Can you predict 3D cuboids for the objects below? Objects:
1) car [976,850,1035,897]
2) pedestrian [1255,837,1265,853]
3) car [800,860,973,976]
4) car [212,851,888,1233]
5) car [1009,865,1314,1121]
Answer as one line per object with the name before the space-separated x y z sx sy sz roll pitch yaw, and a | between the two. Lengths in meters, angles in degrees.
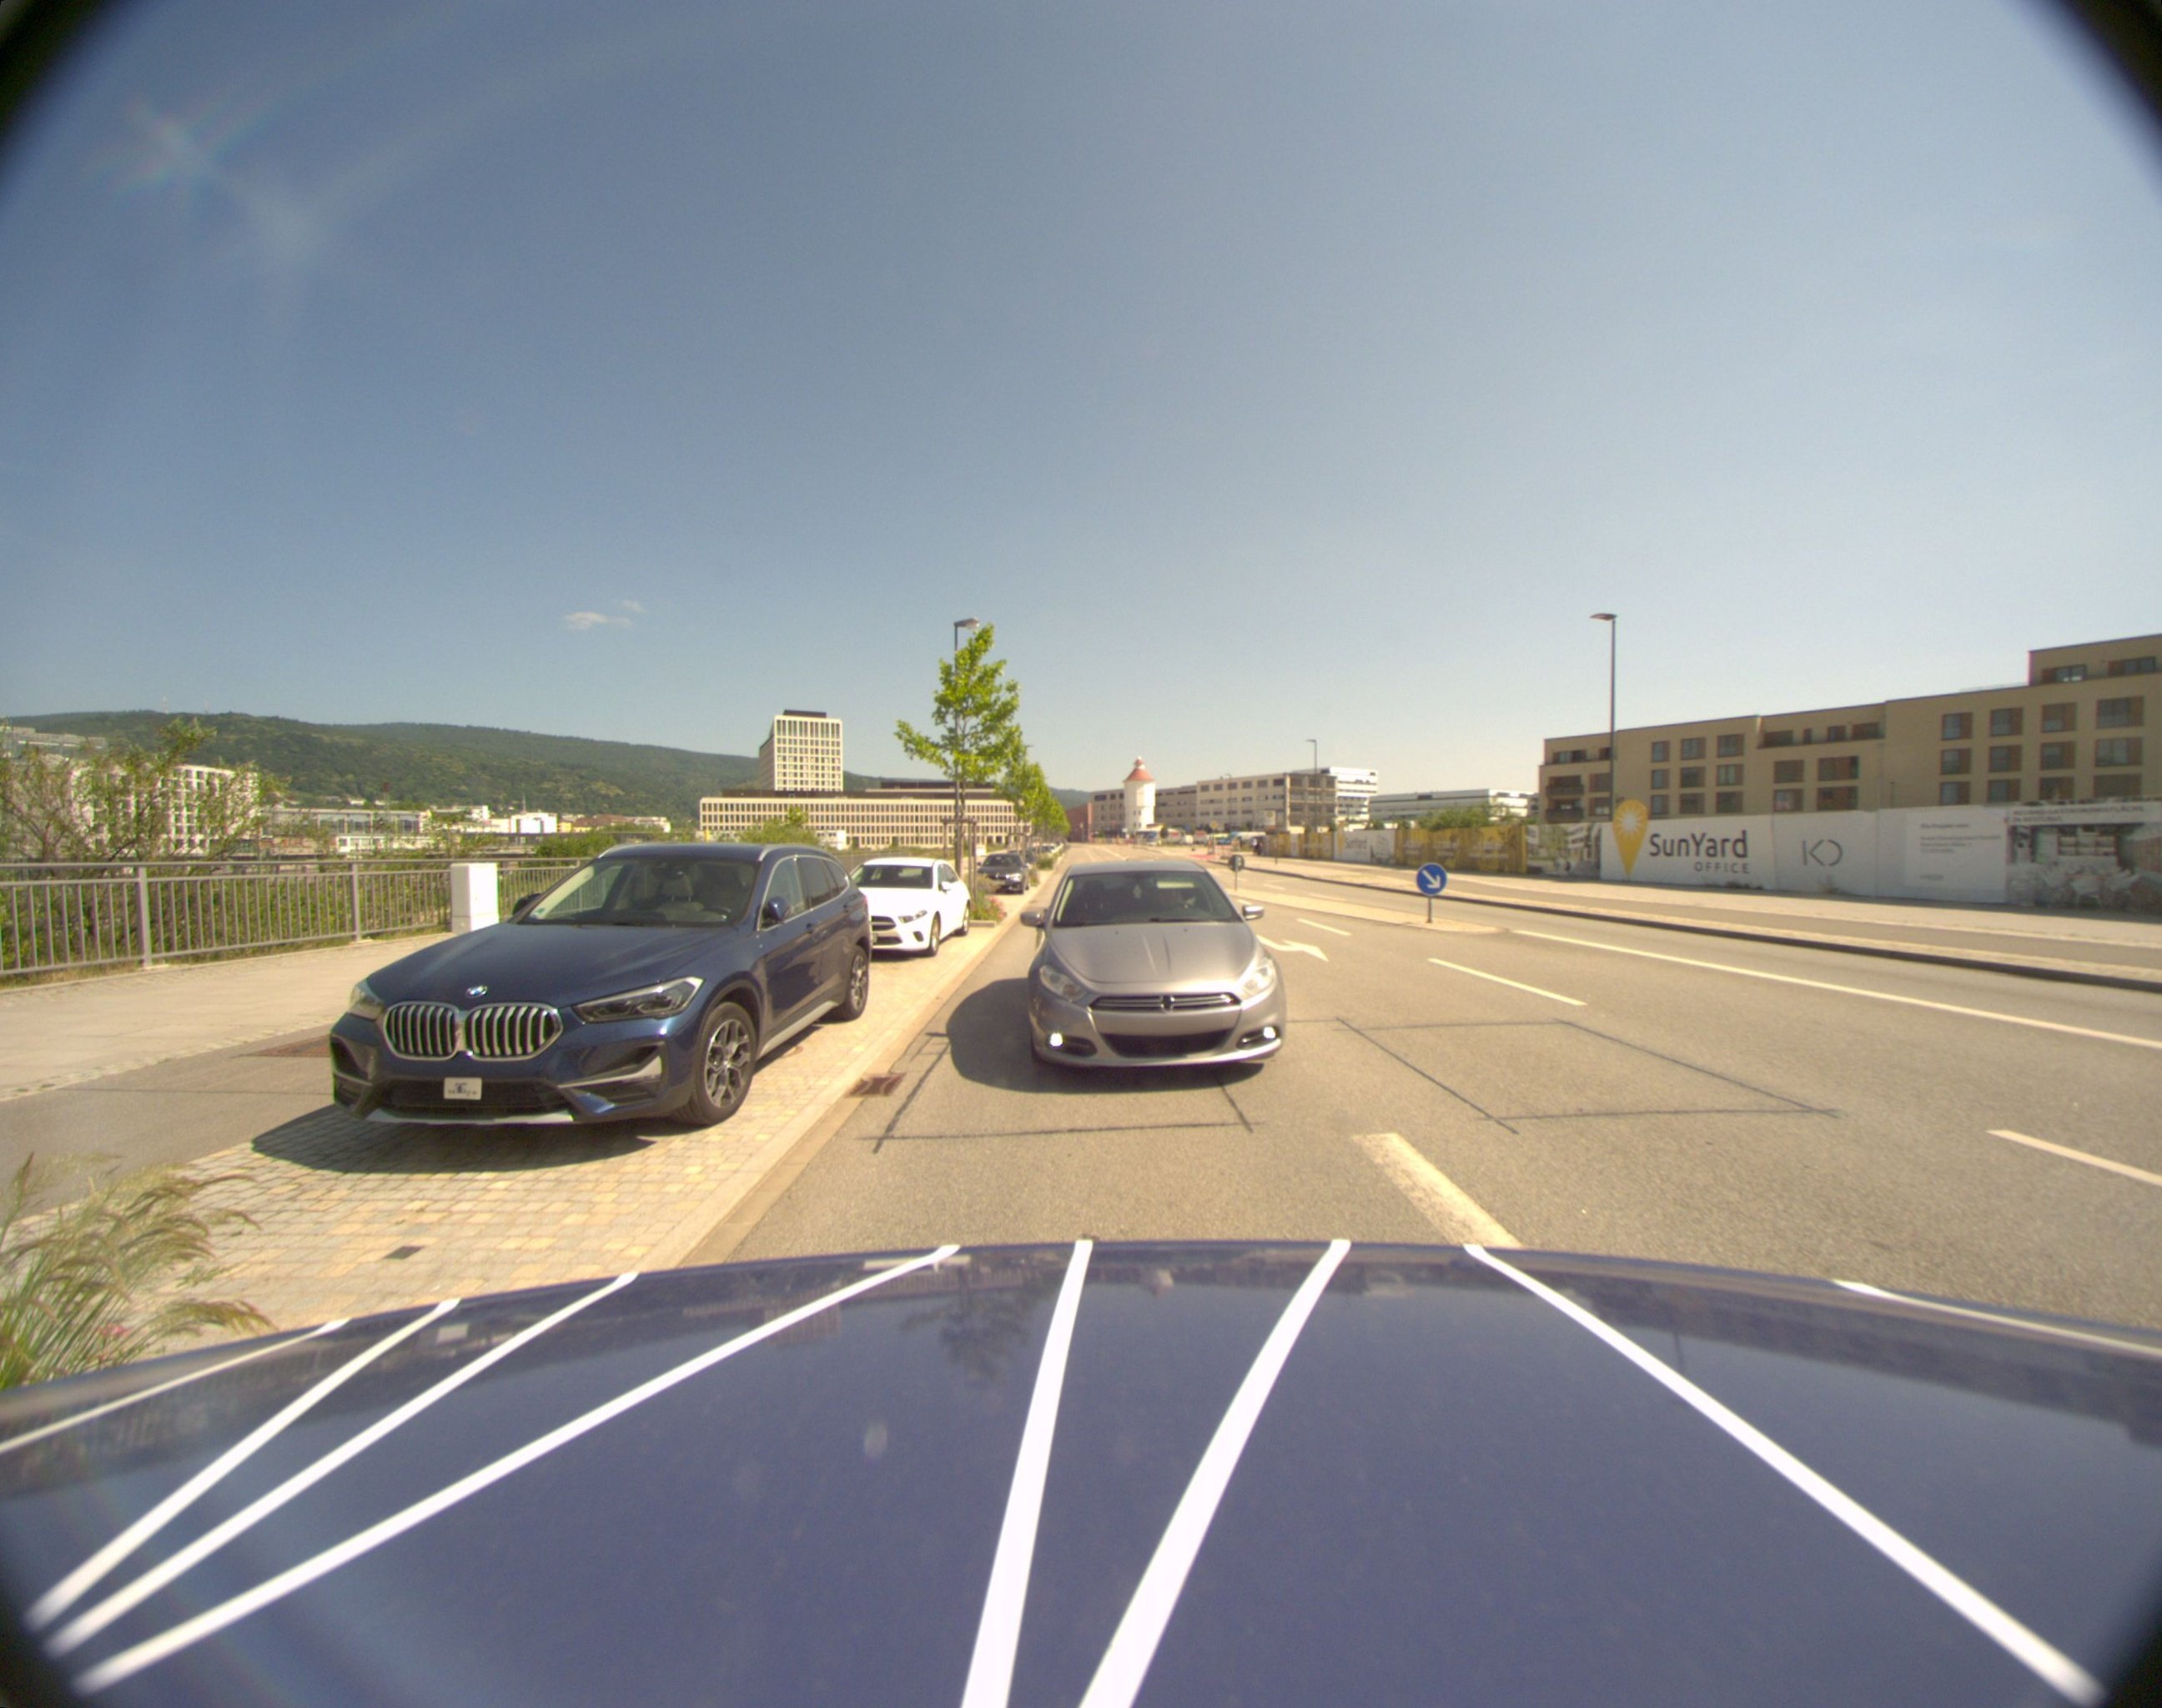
car | -2.710 0.657 27.928 1.664 1.529 3.999 -2 1 1
pedestrian | 18.262 -0.940 77.688 0.705 1.577 0.617 -3 1 -36
car | -2.926 0.885 12.304 1.664 1.447 3.999 -2 1 1
car | -2.866 0.824 5.458 1.769 1.598 4.238 -2 1 1
car | 0.512 0.874 6.642 1.784 1.372 4.135 -2 1 1
